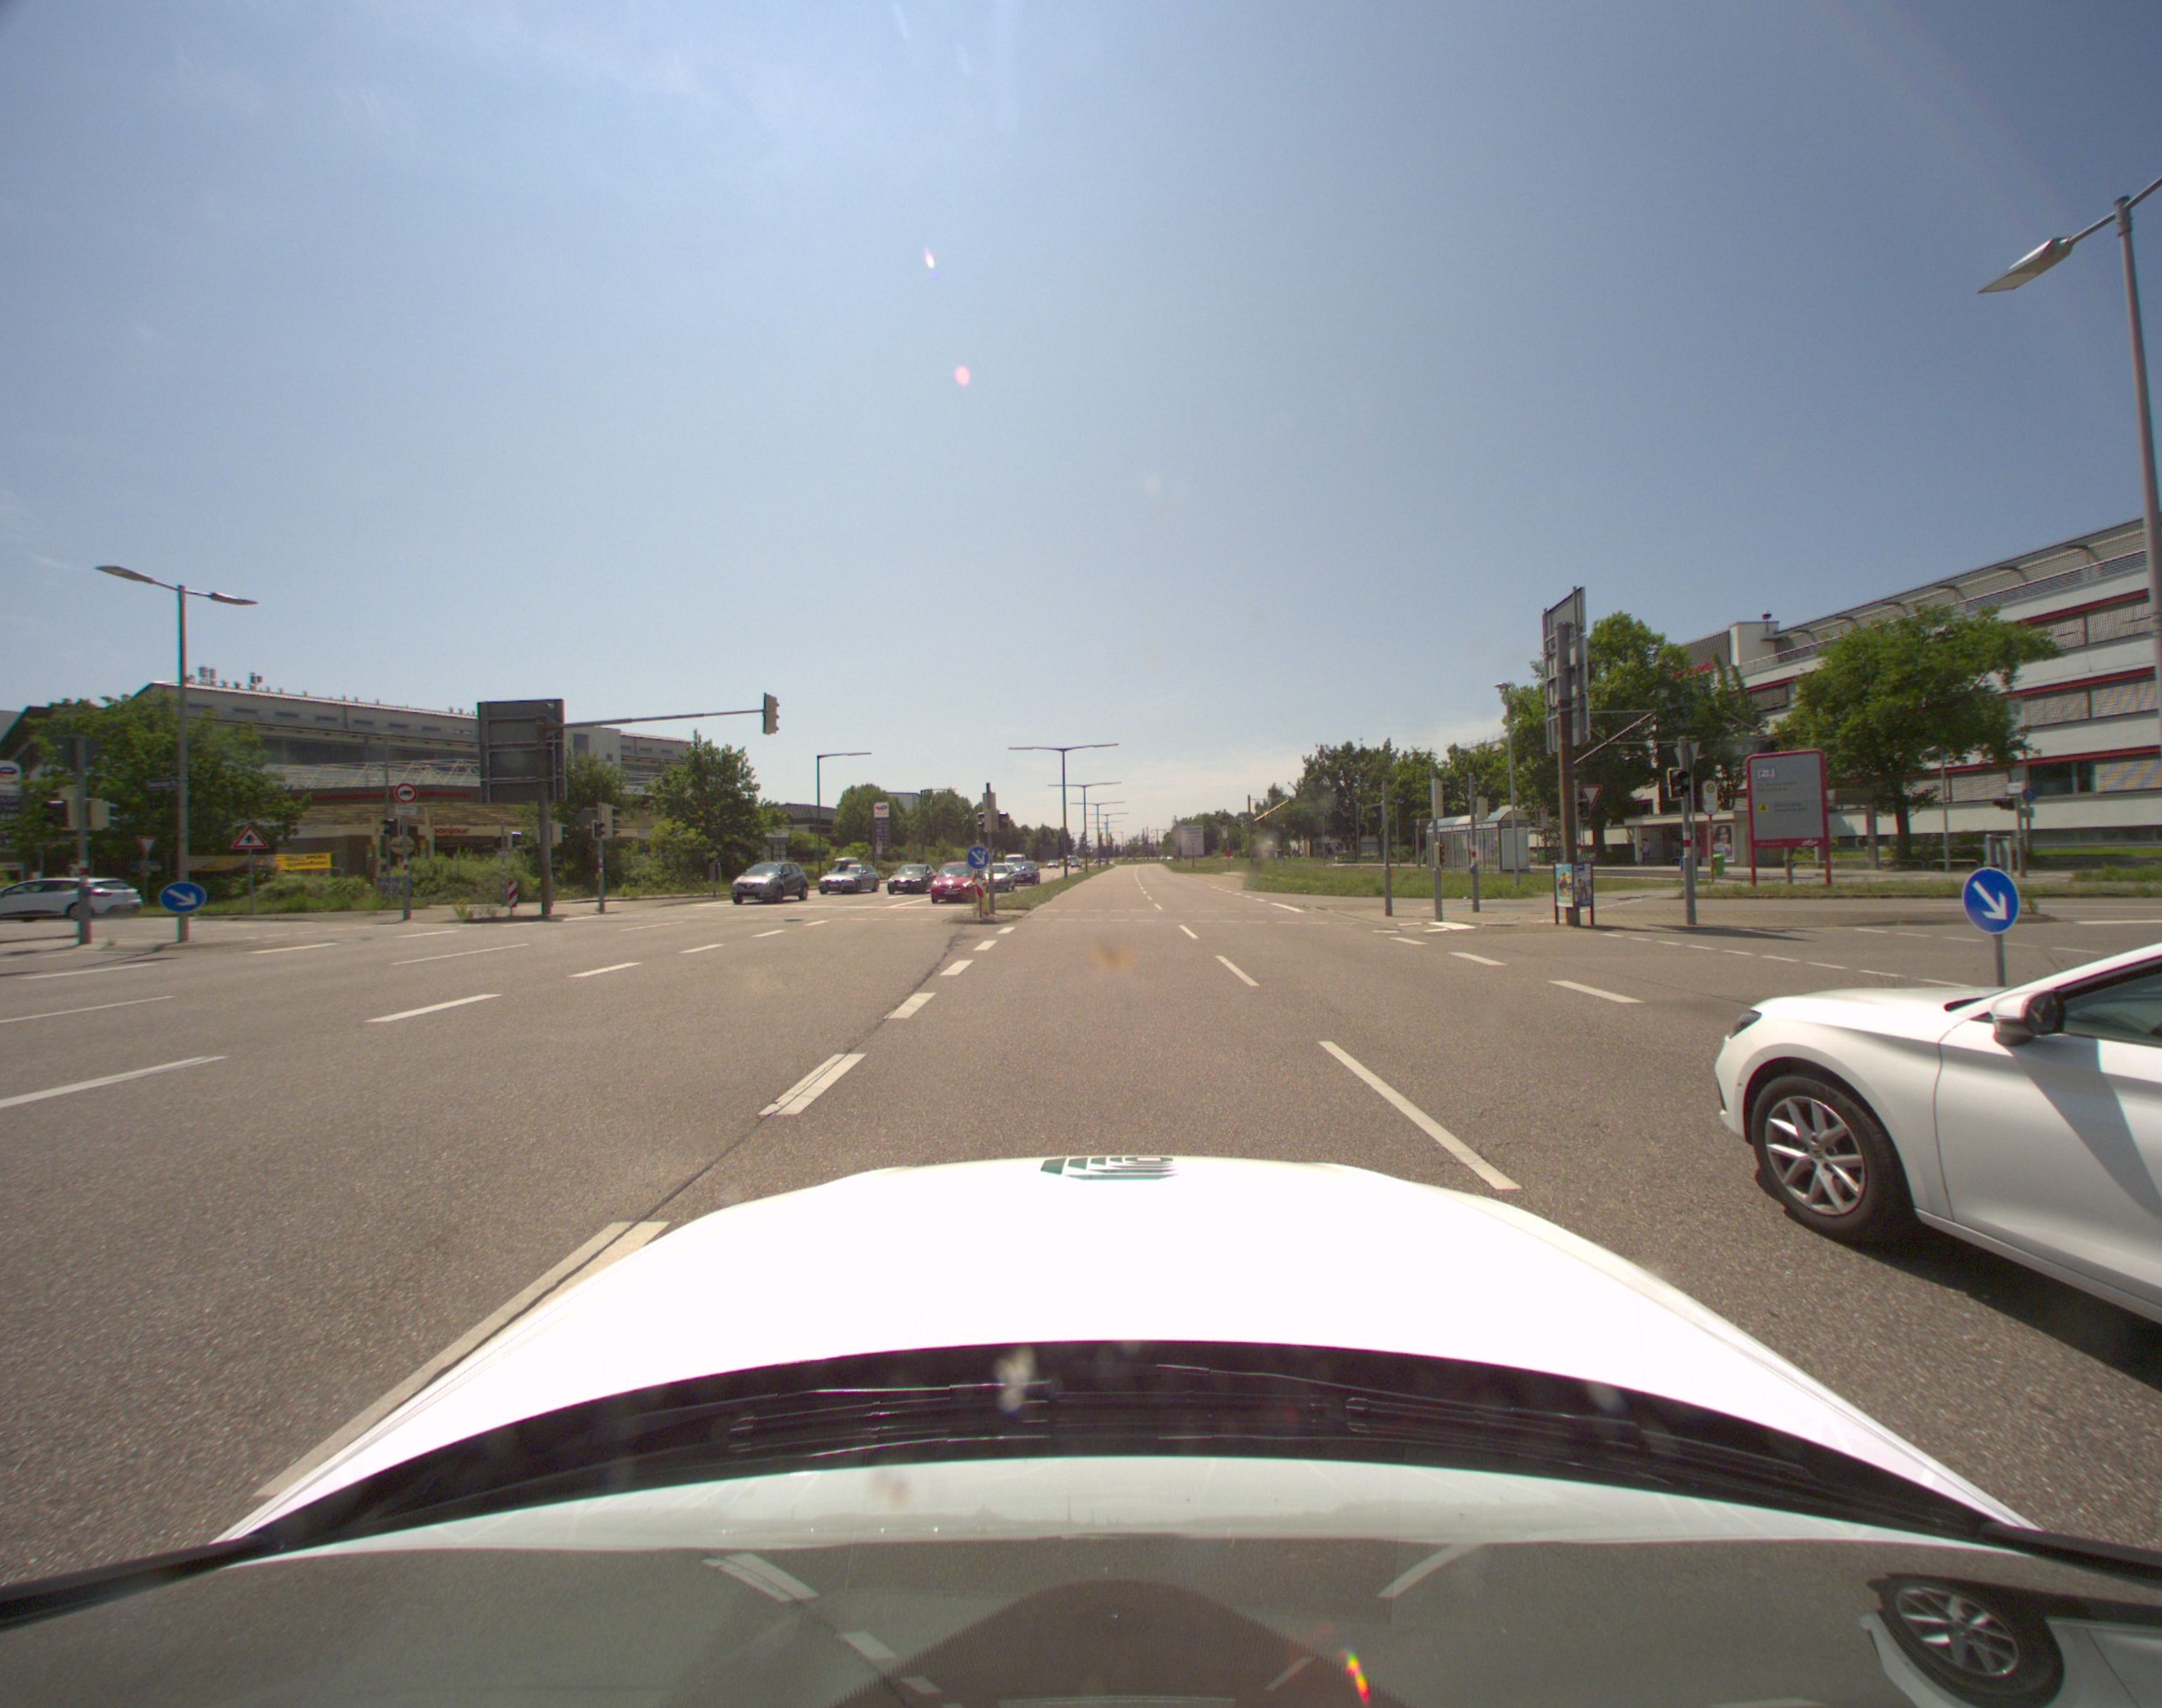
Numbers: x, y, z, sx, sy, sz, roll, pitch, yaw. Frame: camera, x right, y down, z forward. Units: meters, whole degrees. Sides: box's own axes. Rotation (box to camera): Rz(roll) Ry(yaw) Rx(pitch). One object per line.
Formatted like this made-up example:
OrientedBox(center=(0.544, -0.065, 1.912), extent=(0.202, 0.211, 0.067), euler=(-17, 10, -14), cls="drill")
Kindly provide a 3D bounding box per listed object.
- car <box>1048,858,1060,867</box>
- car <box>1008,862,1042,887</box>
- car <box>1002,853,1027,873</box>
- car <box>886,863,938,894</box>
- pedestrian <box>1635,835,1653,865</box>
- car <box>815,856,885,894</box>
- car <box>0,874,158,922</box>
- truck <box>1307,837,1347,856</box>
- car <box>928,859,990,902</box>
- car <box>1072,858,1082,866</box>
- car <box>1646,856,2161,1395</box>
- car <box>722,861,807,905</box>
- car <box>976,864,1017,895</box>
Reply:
OrientedBox(center=(-4.738, 1.524, 143.934), extent=(1.824, 1.449, 4.853), euler=(-2, 0, 2), cls="car")
OrientedBox(center=(-3.414, 1.228, 50.419), extent=(1.669, 1.434, 4.192), euler=(-1, 0, 2), cls="car")
OrientedBox(center=(-7.955, 1.059, 97.713), extent=(2.239, 2.273, 5.454), euler=(0, -1, 3), cls="car")
OrientedBox(center=(-8.250, 1.169, 40.021), extent=(1.591, 1.385, 4.004), euler=(-1, 0, 1), cls="car")
OrientedBox(center=(30.720, -0.233, 44.443), extent=(0.549, 1.608, 0.691), euler=(0, -1, 3), cls="pedestrian")
OrientedBox(center=(-11.529, 1.021, 40.966), extent=(1.958, 1.750, 5.023), euler=(-1, 0, 1), cls="car")
OrientedBox(center=(-33.927, 1.455, 27.144), extent=(3.819, 1.450, 1.820), euler=(-1, -1, -13), cls="car")
OrientedBox(center=(41.309, -1.188, 136.909), extent=(5.831, 2.843, 2.316), euler=(-3, -1, -5), cls="truck")
OrientedBox(center=(-4.653, 0.984, 31.565), extent=(1.652, 1.490, 4.001), euler=(-1, 0, 1), cls="car")
OrientedBox(center=(-0.738, 1.452, 149.021), extent=(1.724, 1.458, 4.566), euler=(-2, 0, 2), cls="car")
OrientedBox(center=(3.686, 0.716, 1.860), extent=(1.677, 1.390, 4.450), euler=(-1, 0, 0), cls="car")
OrientedBox(center=(-12.192, 1.075, 31.636), extent=(1.652, 1.539, 4.001), euler=(0, 0, 1), cls="car")
OrientedBox(center=(-4.181, 1.249, 40.841), extent=(1.555, 1.423, 3.855), euler=(-1, 0, 1), cls="car")
